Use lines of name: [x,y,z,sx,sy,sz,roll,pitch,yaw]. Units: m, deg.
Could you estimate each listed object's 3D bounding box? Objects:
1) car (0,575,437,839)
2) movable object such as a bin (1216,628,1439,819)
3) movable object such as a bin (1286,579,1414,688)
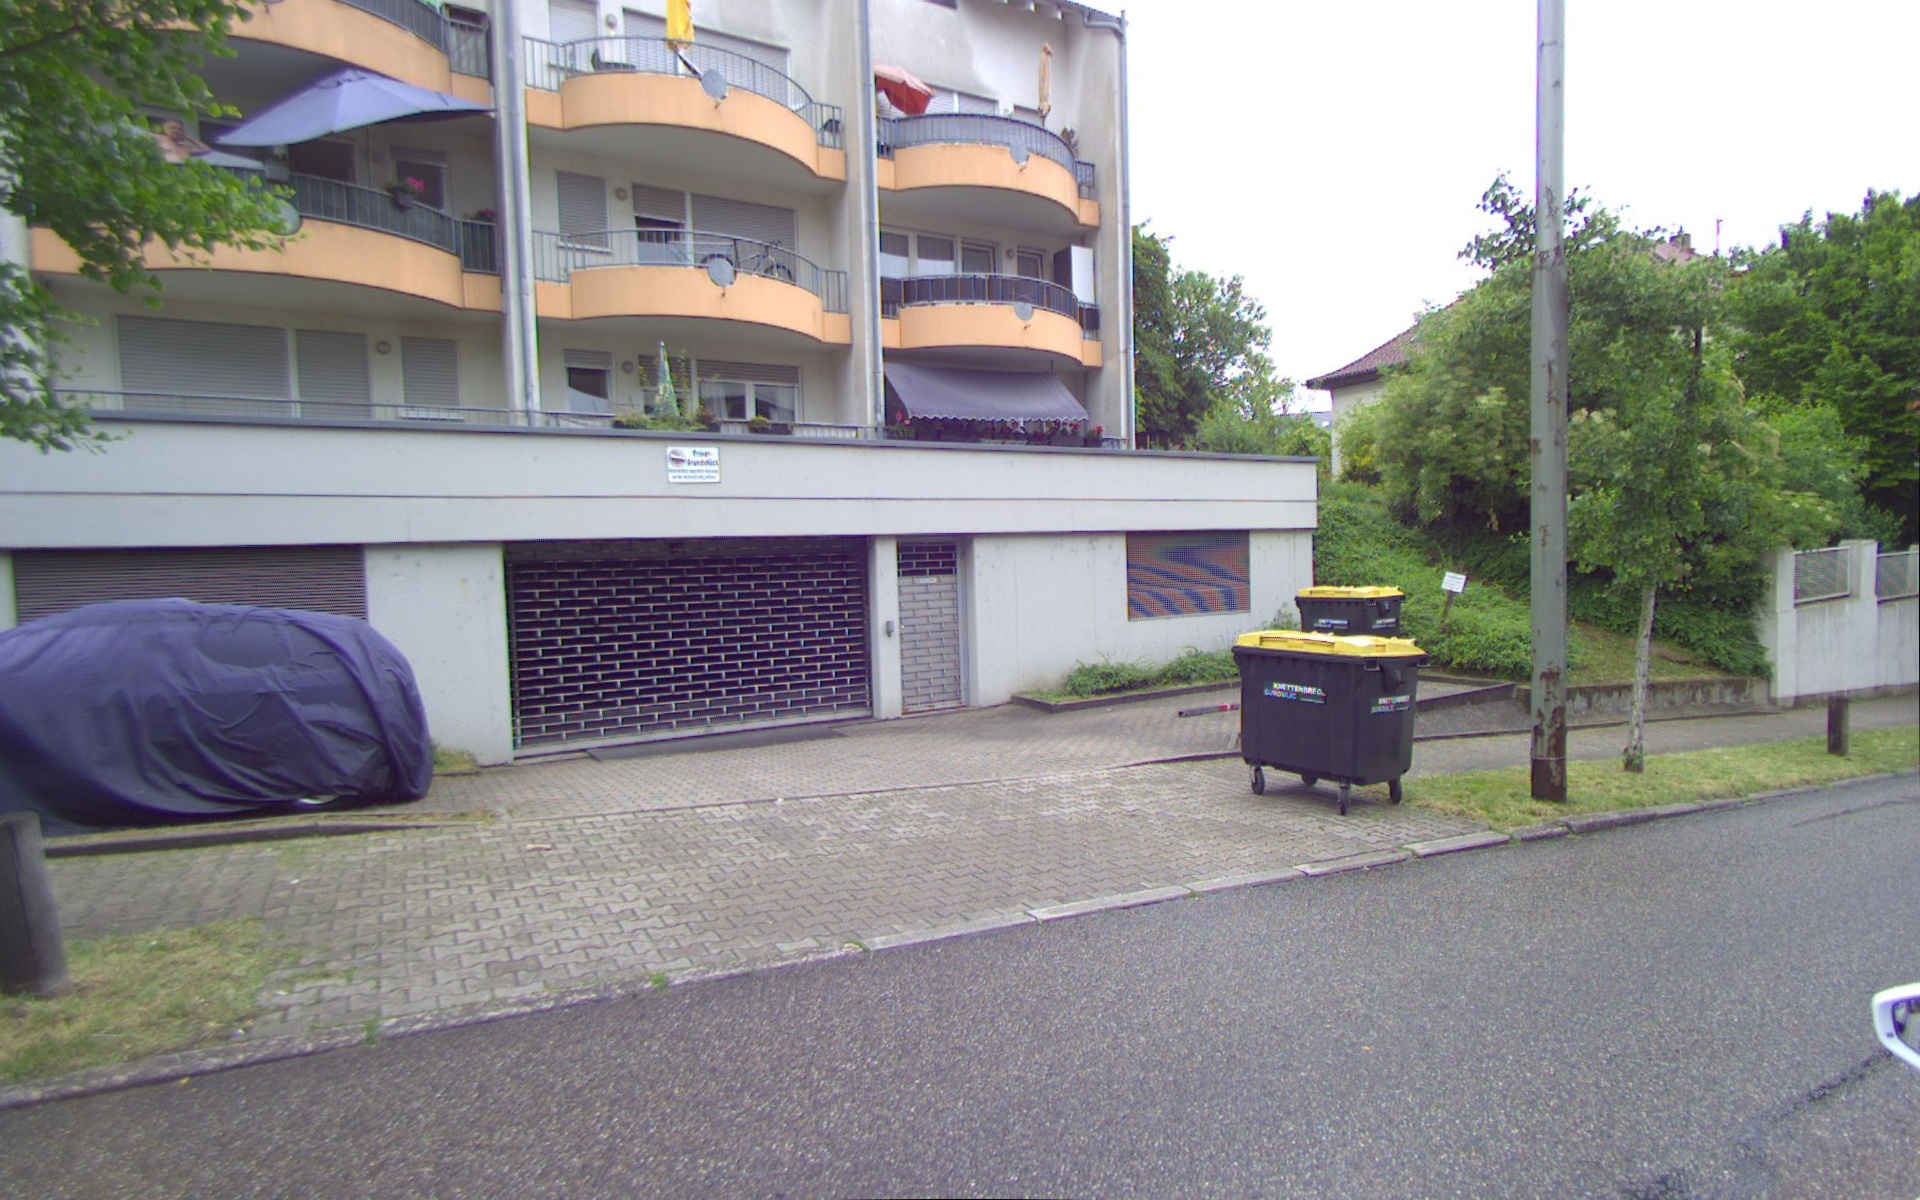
car: [-5.943,0.693,6.938,4.050,1.582,1.770,1,-4,-31]
movable object such as a bin: [2.979,0.927,8.199,1.145,1.324,1.288,0,2,-38]
movable object such as a bin: [5.710,0.446,14.711,1.215,1.383,1.288,-7,6,-36]
